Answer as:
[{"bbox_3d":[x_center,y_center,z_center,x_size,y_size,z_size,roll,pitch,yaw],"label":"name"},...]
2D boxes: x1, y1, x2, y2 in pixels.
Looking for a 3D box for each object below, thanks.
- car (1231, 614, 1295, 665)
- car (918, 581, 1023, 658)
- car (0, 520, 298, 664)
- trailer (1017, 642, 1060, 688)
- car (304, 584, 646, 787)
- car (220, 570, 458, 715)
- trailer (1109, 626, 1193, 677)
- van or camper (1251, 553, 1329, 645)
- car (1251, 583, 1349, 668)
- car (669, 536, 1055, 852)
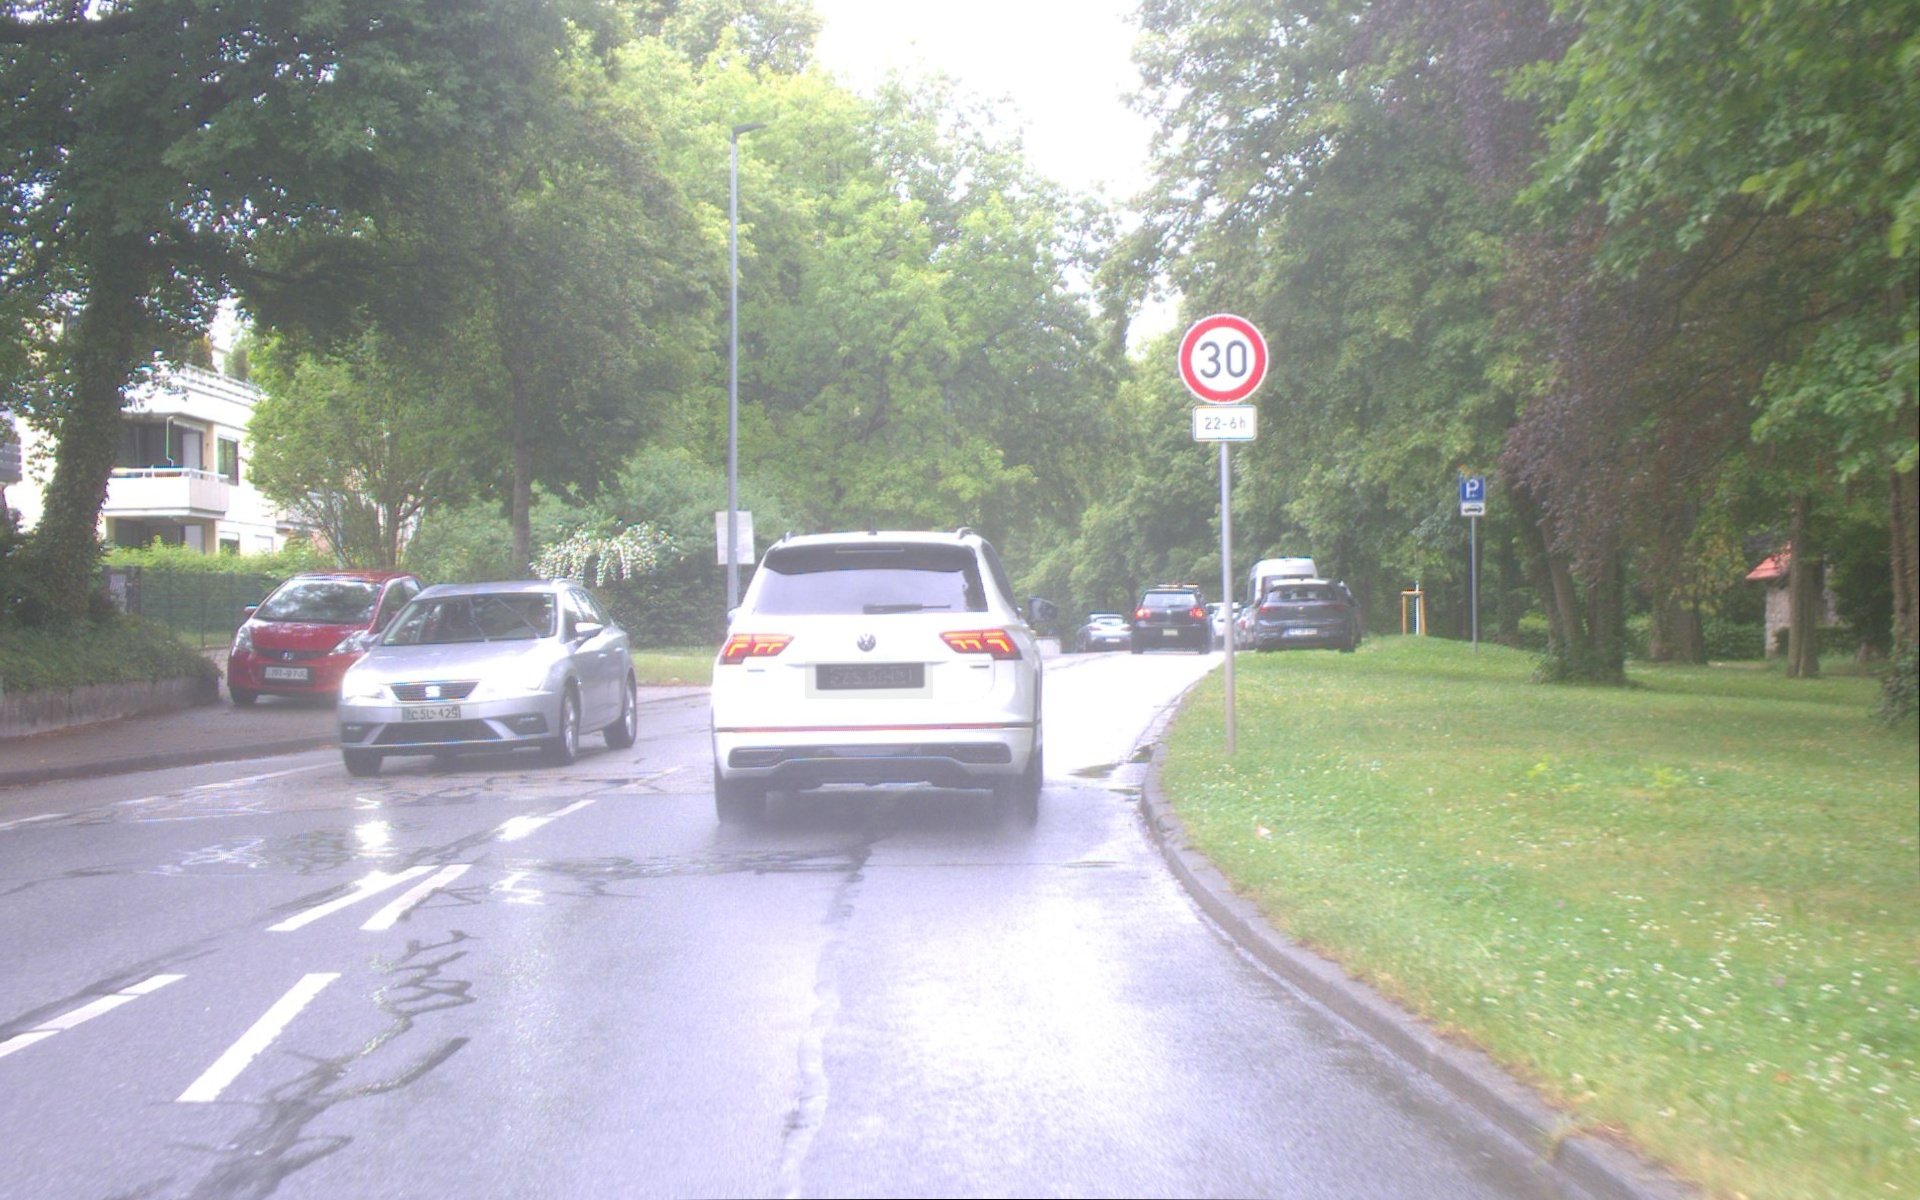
[{"bbox_3d":[9.582,1.248,108.877,1.805,1.534,4.266,-2,-1,3],"label":"car"},{"bbox_3d":[0.236,0.374,67.669,1.701,1.405,4.008,-3,0,5],"label":"car"},{"bbox_3d":[-13.321,-0.146,52.334,5.743,2.031,3.479,1,0,1],"label":"car"},{"bbox_3d":[3.842,3.214,169.480,1.529,2.069,4.000,-1,-4,-6],"label":"trailer"},{"bbox_3d":[-3.808,0.626,27.717,1.790,1.418,4.358,-2,0,4],"label":"car"},{"bbox_3d":[-7.256,0.464,40.567,1.993,1.511,4.000,3,1,0],"label":"car"},{"bbox_3d":[7.639,2.103,137.898,2.449,1.807,5.892,-1,-3,-6],"label":"trailer"},{"bbox_3d":[9.857,-0.019,102.219,2.016,2.574,8.433,1,0,7],"label":"van or camper"},{"bbox_3d":[6.278,0.471,63.270,1.701,1.457,4.216,-2,-1,6],"label":"car"},{"bbox_3d":[-0.469,0.497,20.496,1.905,1.679,4.200,0,0,4],"label":"car"}]
